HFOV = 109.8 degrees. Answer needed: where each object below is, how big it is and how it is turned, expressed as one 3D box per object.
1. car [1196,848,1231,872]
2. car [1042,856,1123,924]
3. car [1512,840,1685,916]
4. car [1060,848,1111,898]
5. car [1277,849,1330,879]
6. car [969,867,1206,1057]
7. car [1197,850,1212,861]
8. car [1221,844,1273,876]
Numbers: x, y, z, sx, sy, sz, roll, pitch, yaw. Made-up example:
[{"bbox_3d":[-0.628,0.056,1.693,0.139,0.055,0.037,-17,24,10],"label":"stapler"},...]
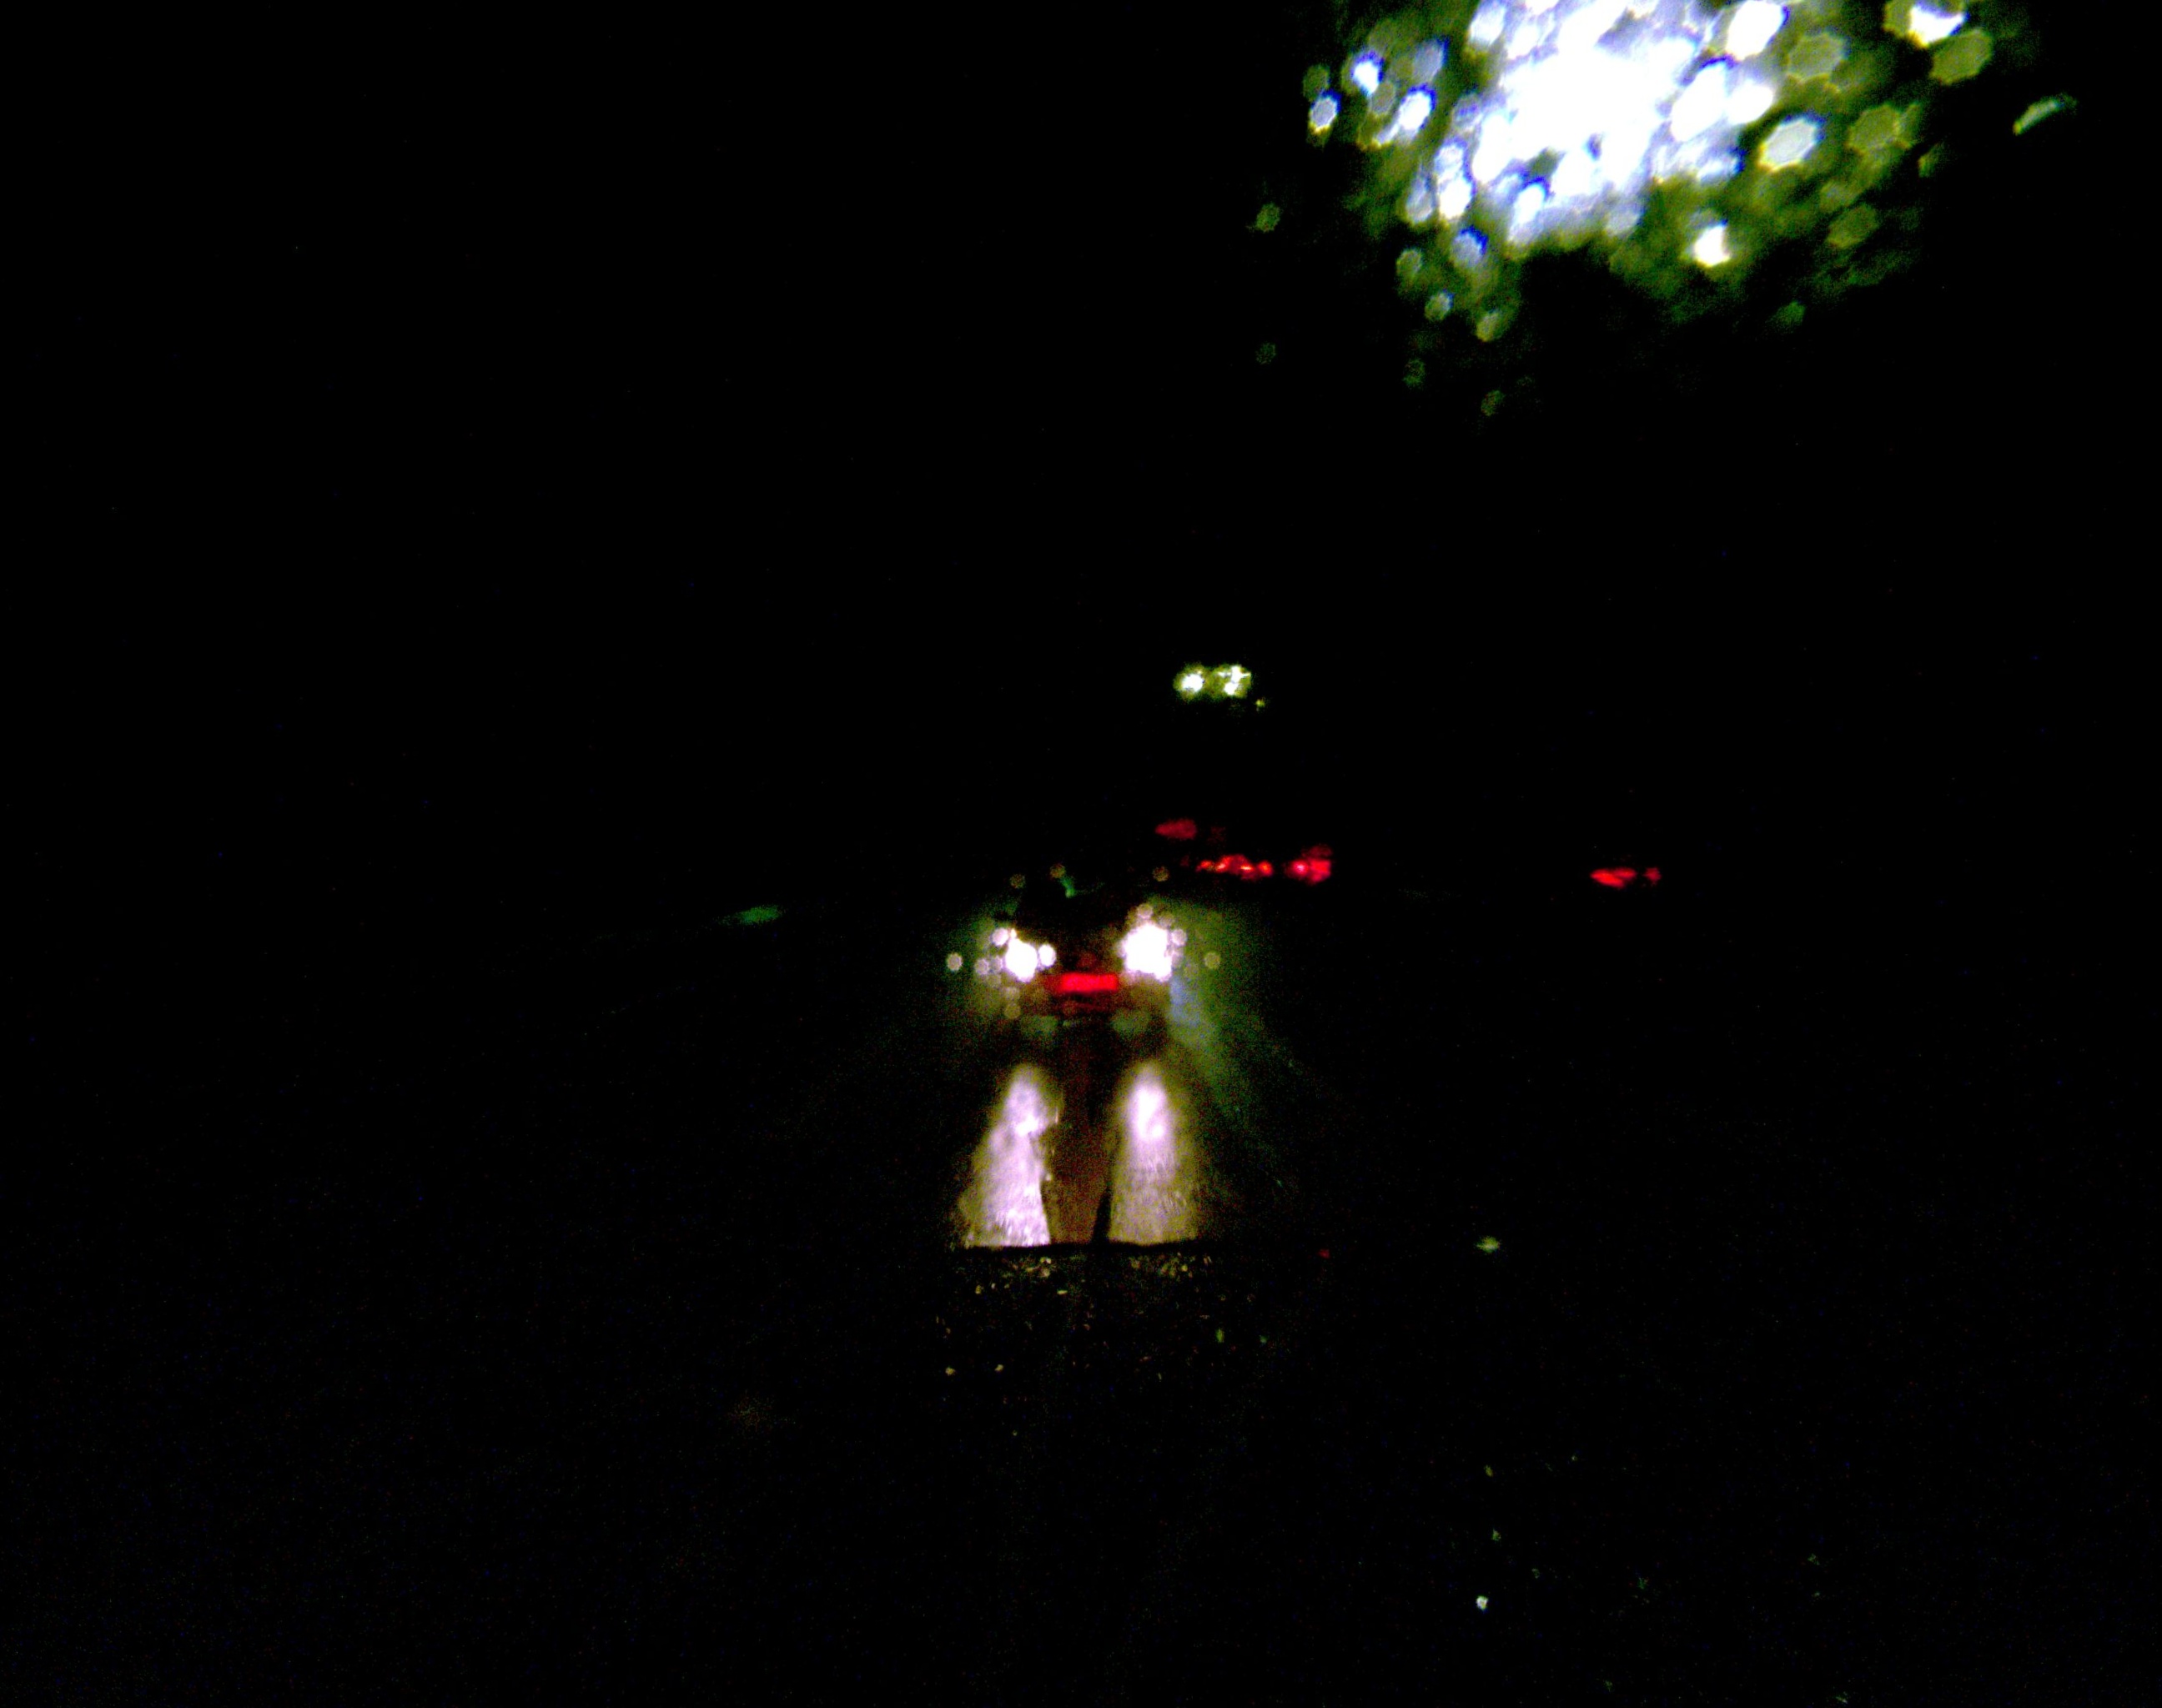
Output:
[{"bbox_3d":[11.048,0.466,63.620,1.999,1.764,4.703,-3,1,-1],"label":"car"},{"bbox_3d":[0.026,0.866,20.043,1.849,1.441,3.874,-3,1,0],"label":"car"},{"bbox_3d":[14.366,0.582,21.434,1.998,1.799,4.199,-3,1,1],"label":"car"},{"bbox_3d":[0.116,0.689,29.863,1.784,1.696,3.998,-3,1,-1],"label":"car"},{"bbox_3d":[14.910,0.633,51.195,1.999,1.764,4.703,-3,1,-1],"label":"car"},{"bbox_3d":[0.207,0.916,8.139,1.848,1.440,4.002,-3,-1,5],"label":"car"},{"bbox_3d":[18.945,0.191,116.678,1.604,1.543,3.833,-3,1,1],"label":"car"},{"bbox_3d":[10.439,0.336,48.137,2.170,1.764,4.703,-3,1,-1],"label":"car"}]
